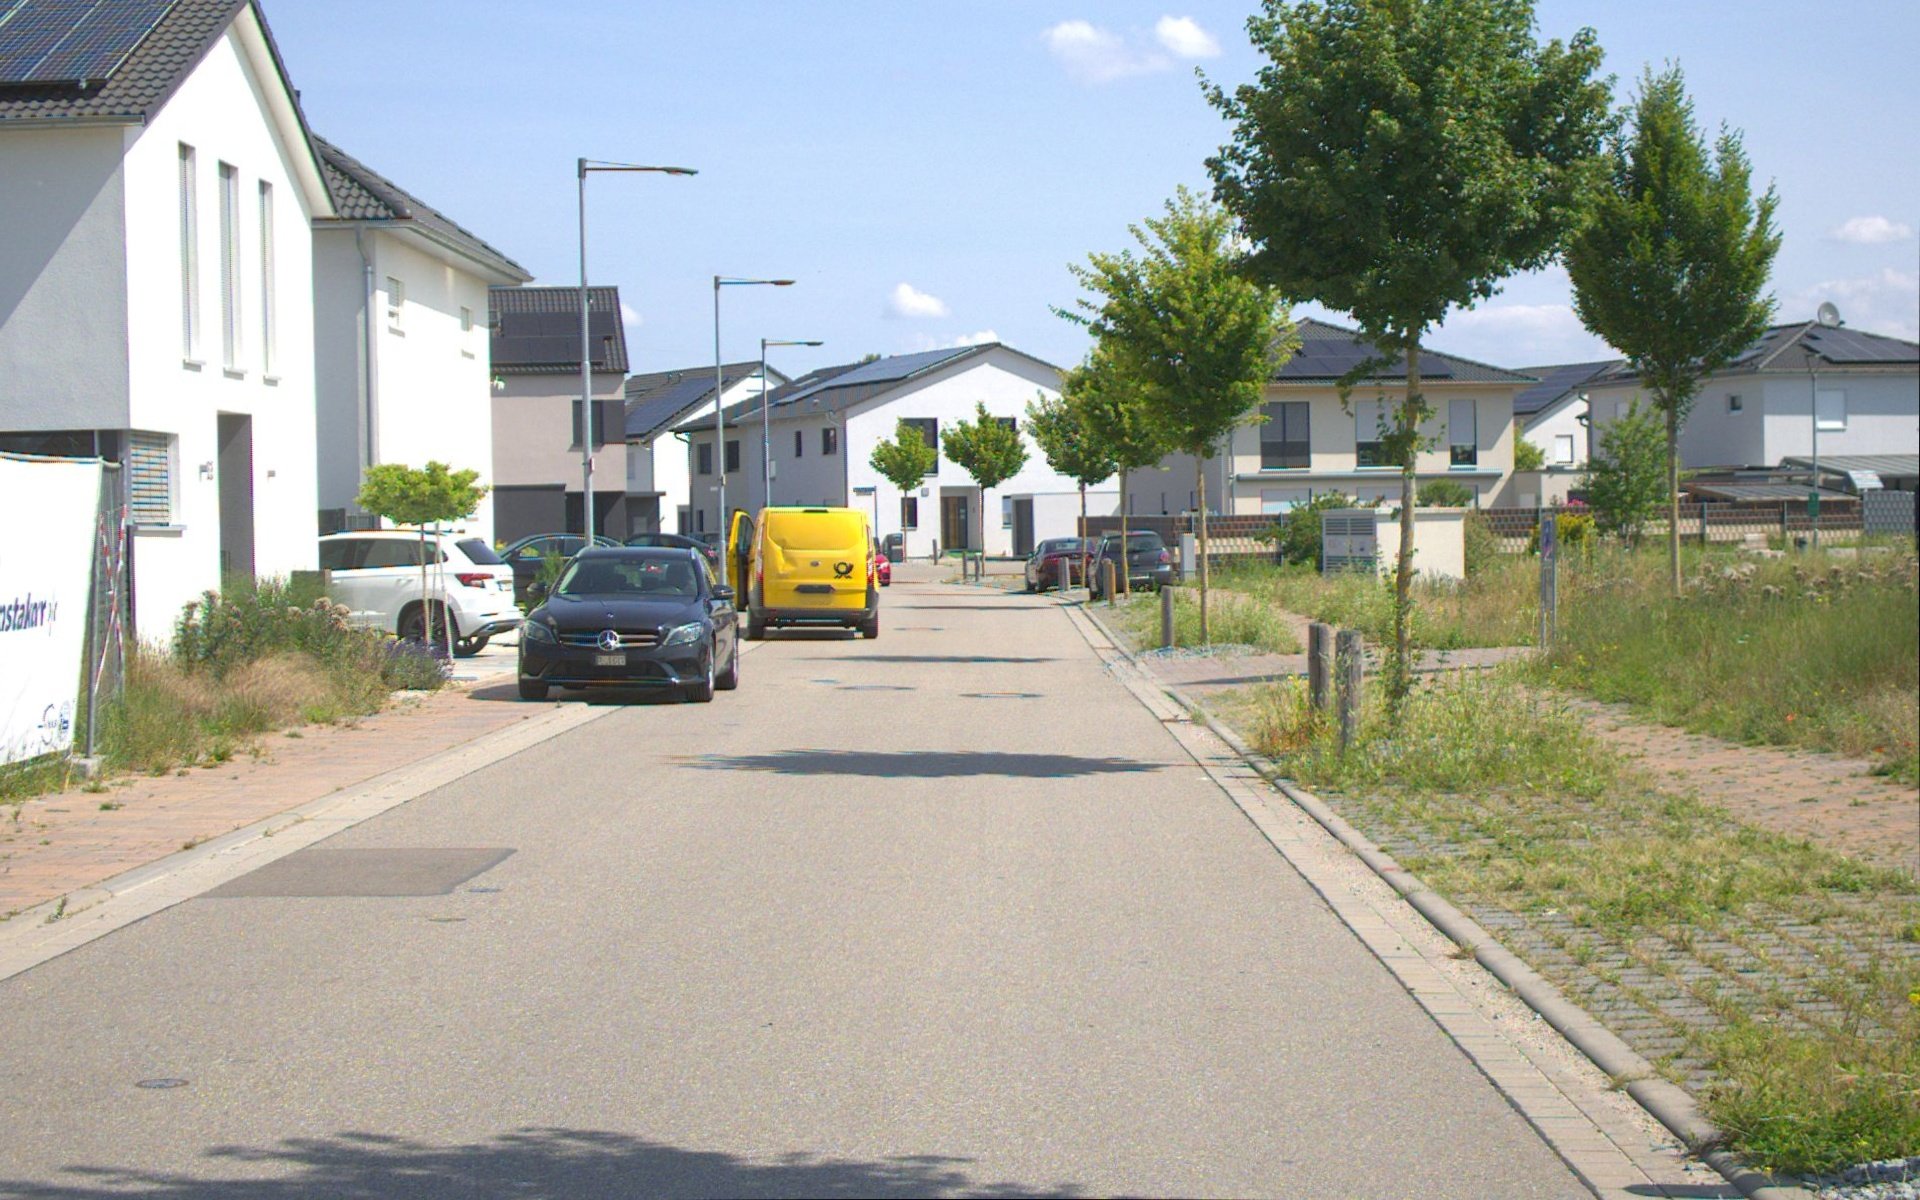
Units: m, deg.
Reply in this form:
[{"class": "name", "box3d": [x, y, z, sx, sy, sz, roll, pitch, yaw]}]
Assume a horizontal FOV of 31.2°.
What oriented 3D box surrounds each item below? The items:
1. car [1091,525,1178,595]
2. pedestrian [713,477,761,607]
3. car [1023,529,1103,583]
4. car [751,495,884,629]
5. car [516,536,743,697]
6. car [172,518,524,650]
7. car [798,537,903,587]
[{"class": "car", "box3d": [3.697, -0.832, 73.269, 1.639, 1.398, 3.811, -1, 0, 0]}, {"class": "pedestrian", "box3d": [-3.503, -0.906, 54.048, 0.651, 2.007, 1.124, -1, 0, 0]}, {"class": "car", "box3d": [2.741, -1.172, 91.908, 1.627, 1.318, 3.834, -1, -1, -6]}, {"class": "car", "box3d": [-2.231, -0.582, 53.323, 1.941, 1.975, 4.217, -1, 0, -3]}, {"class": "car", "box3d": [-3.144, 0.110, 33.384, 1.745, 1.400, 4.160, 1, 1, 0]}, {"class": "car", "box3d": [-7.767, -0.224, 43.803, 4.069, 1.576, 1.784, 1, 2, 7]}, {"class": "car", "box3d": [-3.298, -1.120, 102.206, 1.993, 1.426, 4.702, -1, 0, -16]}]
